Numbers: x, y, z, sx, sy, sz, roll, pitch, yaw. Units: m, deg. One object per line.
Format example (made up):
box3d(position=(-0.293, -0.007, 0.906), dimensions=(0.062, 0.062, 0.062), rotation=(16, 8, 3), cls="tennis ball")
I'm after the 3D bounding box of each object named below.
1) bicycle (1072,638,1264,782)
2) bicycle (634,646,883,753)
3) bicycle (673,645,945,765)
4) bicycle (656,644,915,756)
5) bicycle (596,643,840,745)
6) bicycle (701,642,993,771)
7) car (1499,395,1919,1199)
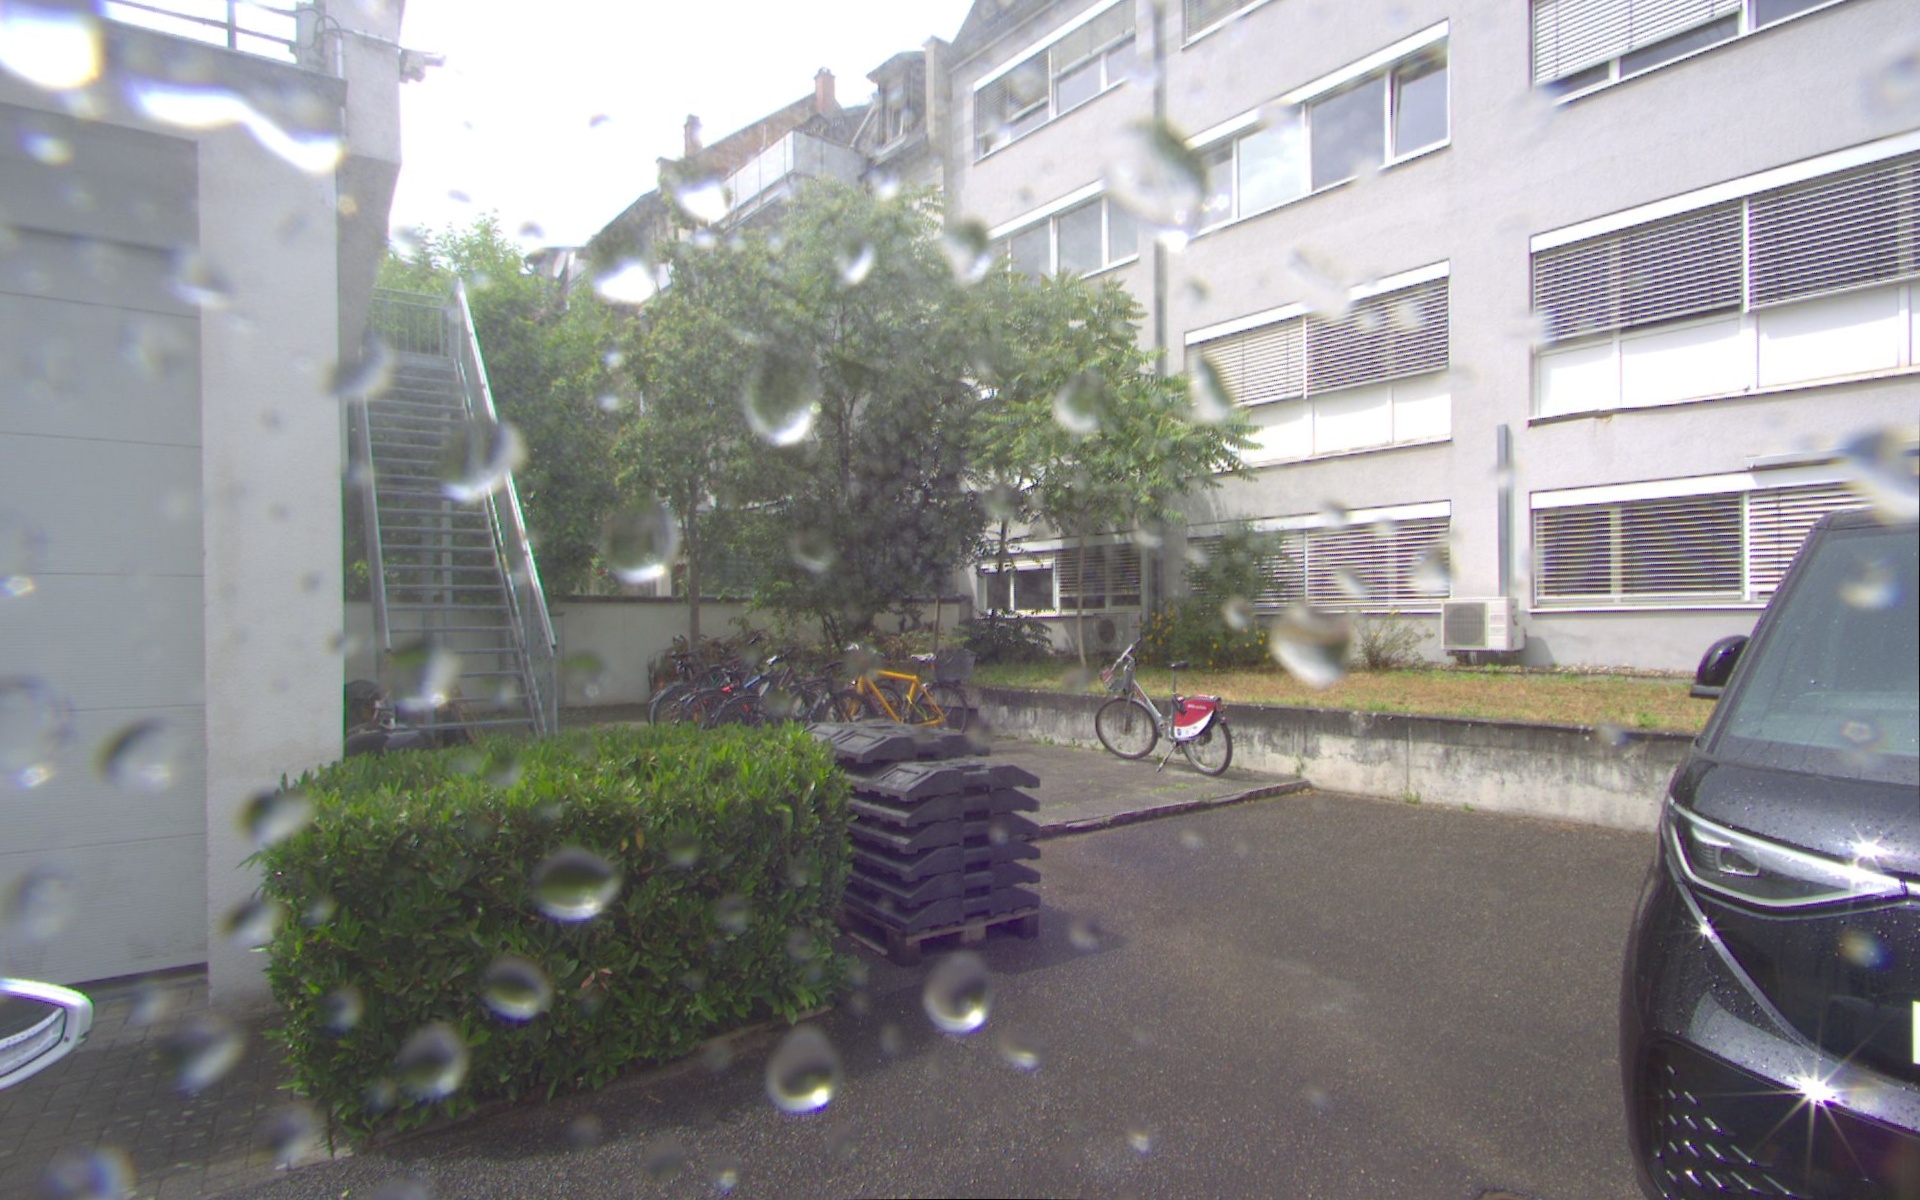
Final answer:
box3d(position=(1.877, 0.953, 9.225), dimensions=(0.609, 1.174, 1.708), rotation=(-1, 0, -41), cls="bicycle")
box3d(position=(-2.268, 1.096, 11.646), dimensions=(2.819, 1.092, 0.684), rotation=(2, -1, -37), cls="bicycle")
box3d(position=(-1.496, 1.029, 10.438), dimensions=(2.819, 1.092, 0.684), rotation=(2, -1, -37), cls="bicycle")
box3d(position=(-1.853, 1.041, 11.070), dimensions=(2.819, 1.092, 0.684), rotation=(2, -1, -37), cls="bicycle")
box3d(position=(-2.851, 1.078, 12.084), dimensions=(2.819, 1.092, 0.684), rotation=(2, -1, -37), cls="bicycle")
box3d(position=(-1.020, 0.973, 9.827), dimensions=(2.898, 1.092, 0.684), rotation=(2, -1, -37), cls="bicycle")
box3d(position=(3.610, 0.544, 2.908), dimensions=(4.673, 1.857, 2.092), rotation=(-1, 0, -41), cls="car")
